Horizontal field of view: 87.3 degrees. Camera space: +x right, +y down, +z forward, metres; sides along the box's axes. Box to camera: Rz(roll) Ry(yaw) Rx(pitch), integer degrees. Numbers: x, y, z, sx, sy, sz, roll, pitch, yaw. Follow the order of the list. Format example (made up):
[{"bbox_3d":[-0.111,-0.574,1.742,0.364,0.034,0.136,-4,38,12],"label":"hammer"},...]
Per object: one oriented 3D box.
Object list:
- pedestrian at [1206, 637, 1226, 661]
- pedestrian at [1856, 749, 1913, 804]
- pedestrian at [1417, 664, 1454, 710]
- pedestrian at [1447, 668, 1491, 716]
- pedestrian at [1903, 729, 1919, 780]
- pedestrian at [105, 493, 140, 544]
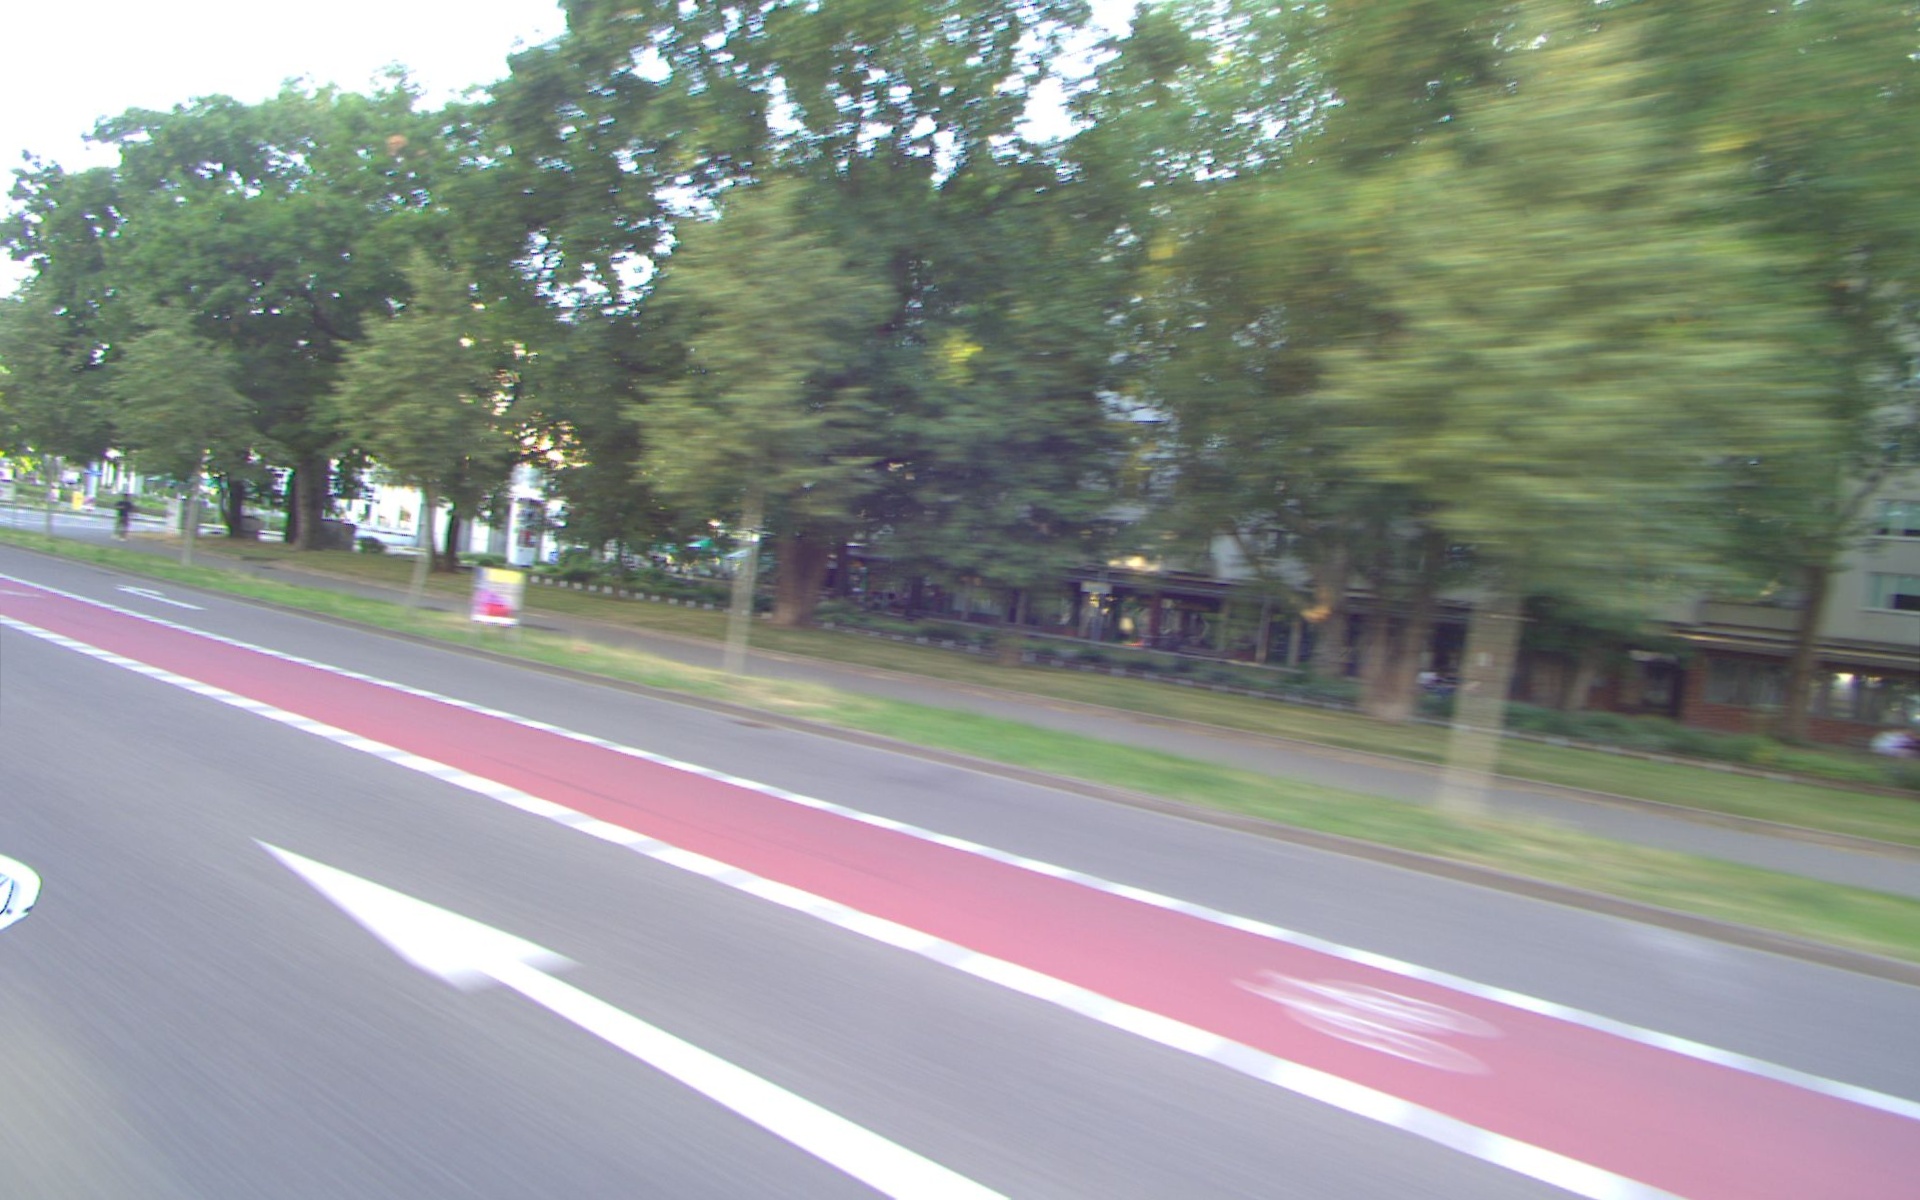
[{"bbox_3d":[13.253,2.545,52.123,0.689,1.179,0.786,7,1,34],"label":"pedestrian"},{"bbox_3d":[23.233,4.420,25.296,0.753,1.179,0.787,7,1,27],"label":"pedestrian"},{"bbox_3d":[14.561,2.652,30.793,0.714,1.276,1.132,7,1,35],"label":"pedestrian"},{"bbox_3d":[15.289,2.749,30.204,0.891,1.276,1.132,7,1,35],"label":"pedestrian"},{"bbox_3d":[24.081,3.875,24.911,0.753,1.179,0.787,7,1,27],"label":"pedestrian"},{"bbox_3d":[-30.519,-2.971,36.656,0.736,1.715,0.695,7,1,31],"label":"pedestrian"}]
